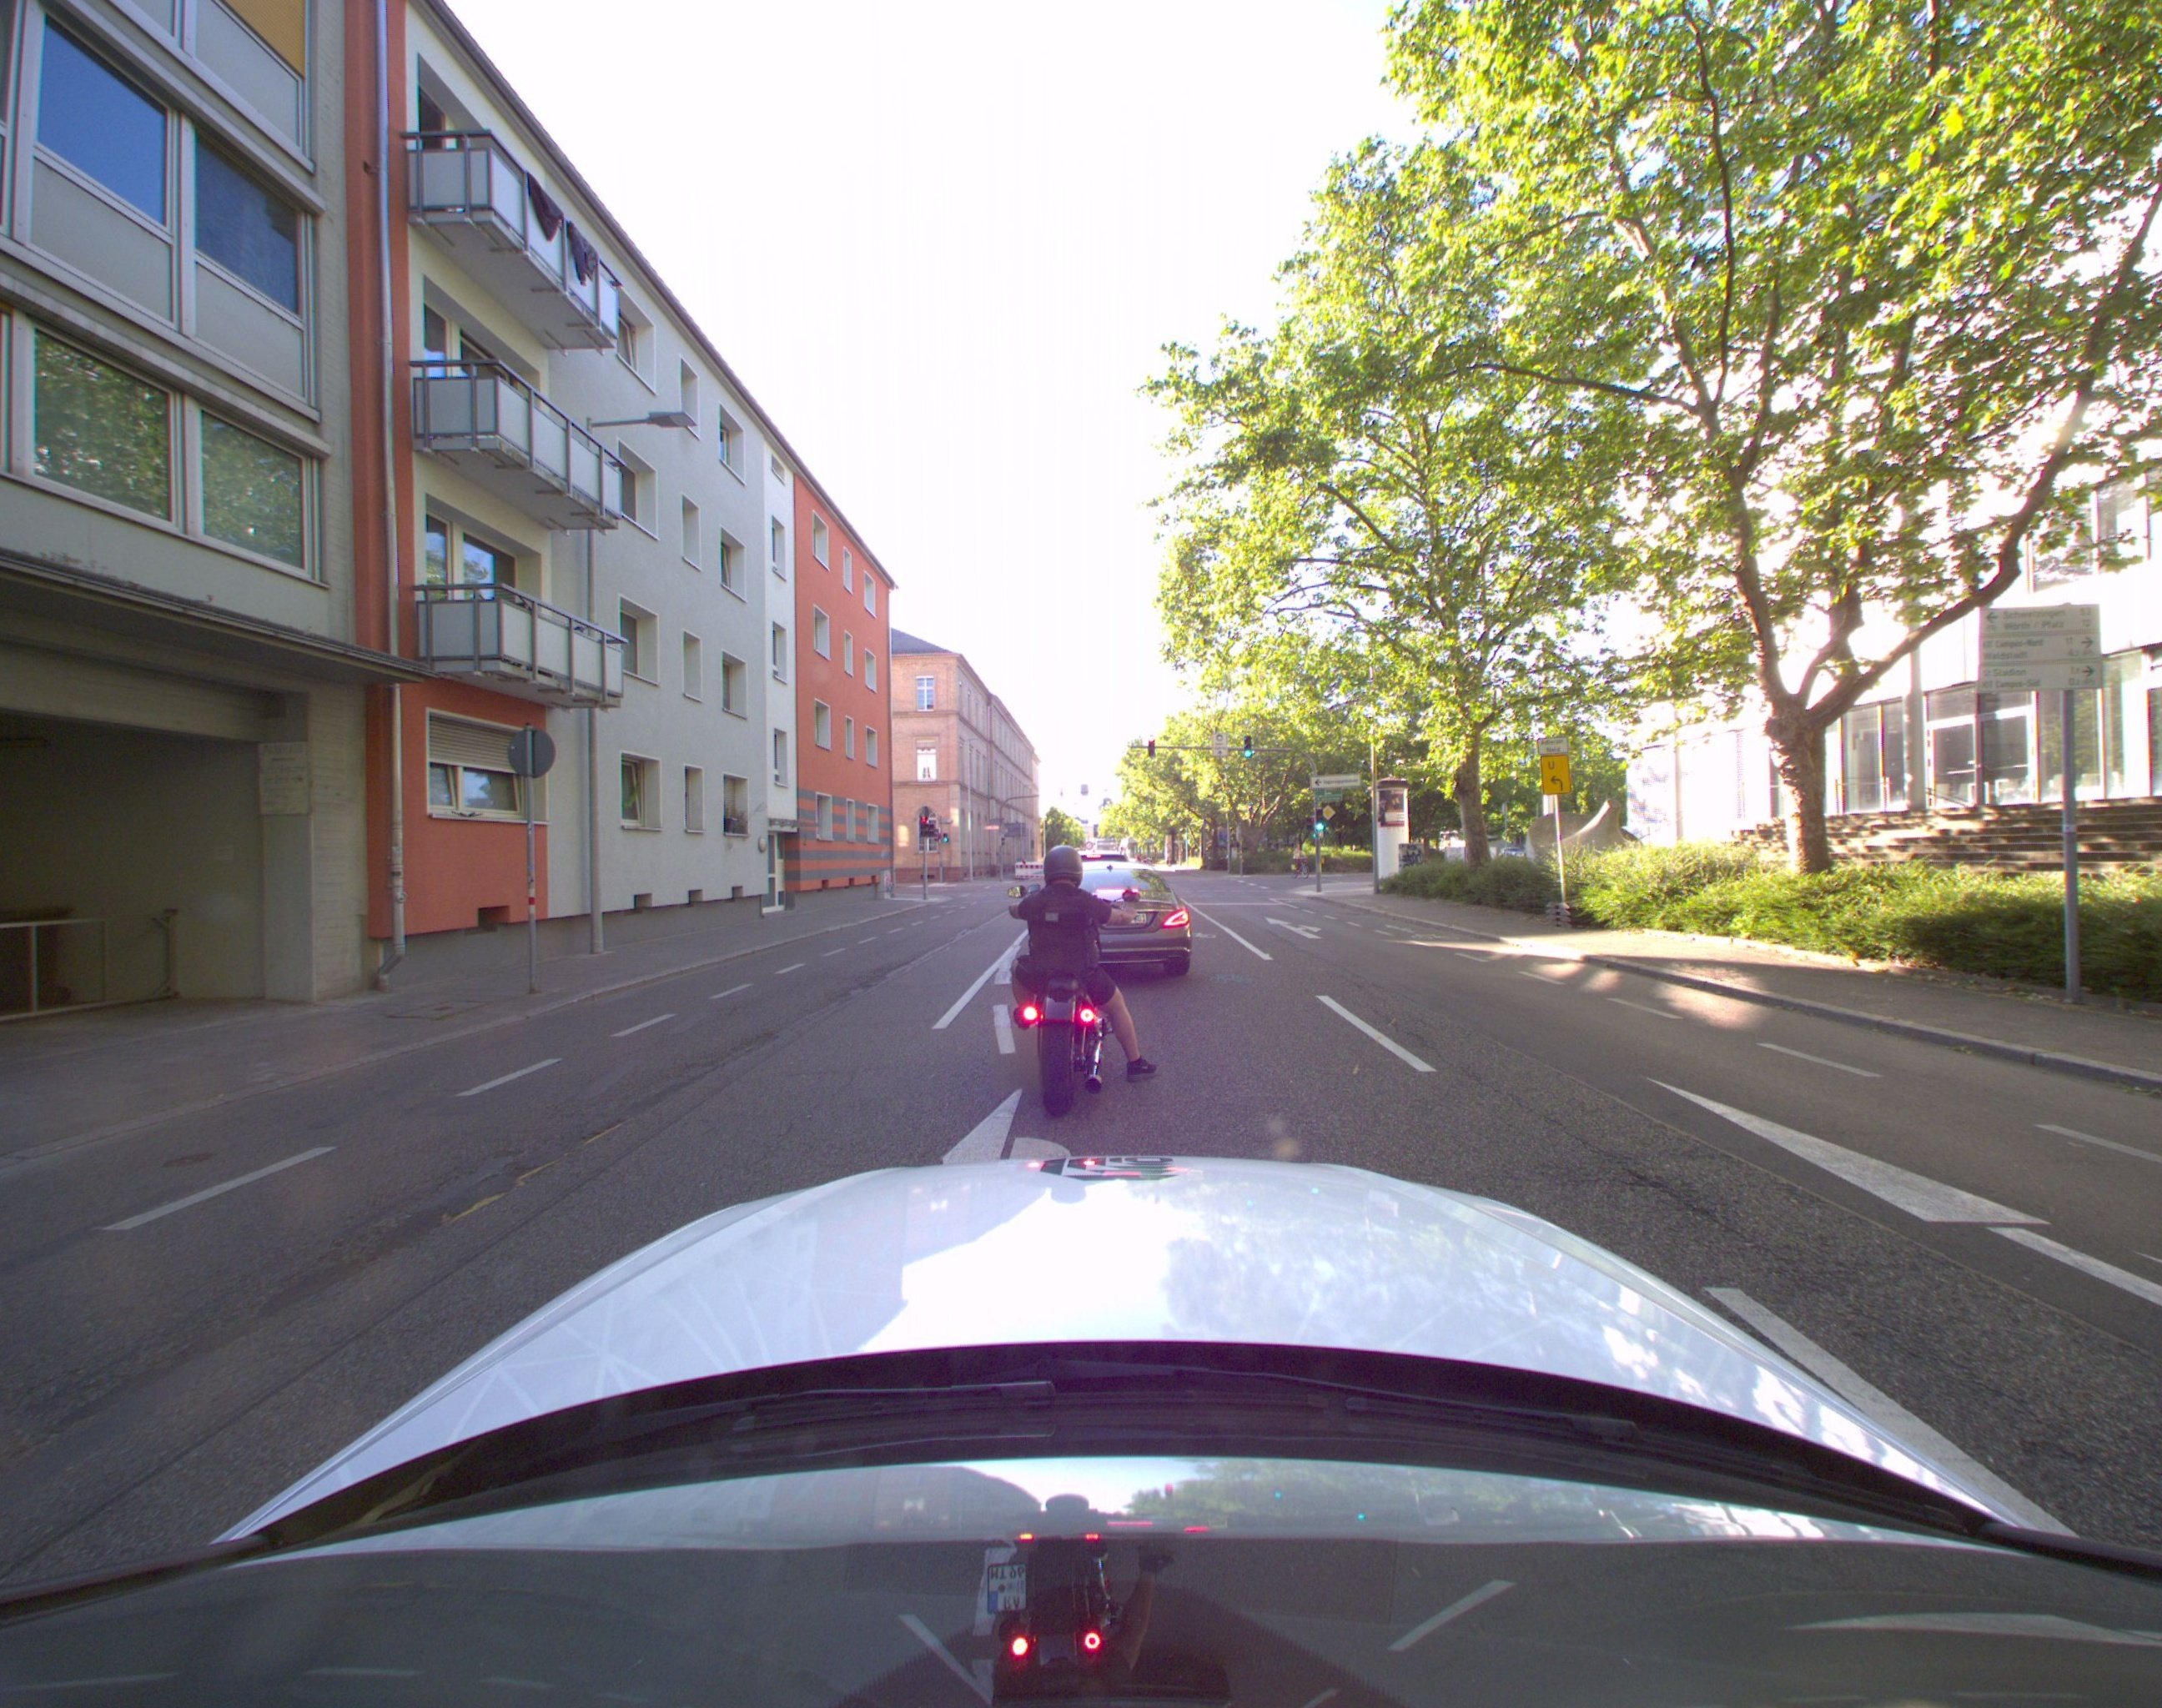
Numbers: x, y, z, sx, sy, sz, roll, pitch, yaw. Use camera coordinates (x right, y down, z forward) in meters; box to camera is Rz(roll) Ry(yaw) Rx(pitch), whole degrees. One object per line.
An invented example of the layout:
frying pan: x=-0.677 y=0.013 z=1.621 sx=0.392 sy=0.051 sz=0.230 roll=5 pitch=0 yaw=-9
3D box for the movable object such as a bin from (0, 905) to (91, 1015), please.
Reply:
movable object such as a bin: x=-11.327 y=1.103 z=8.652 sx=0.736 sy=1.074 sz=0.716 roll=0 pitch=-1 yaw=2

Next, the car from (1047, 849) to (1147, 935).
car: x=0.266 y=0.700 z=16.900 sx=1.808 sy=1.536 sz=3.847 roll=-1 pitch=0 yaw=-1

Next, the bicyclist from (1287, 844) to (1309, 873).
bicyclist: x=11.787 y=0.248 z=44.236 sx=0.719 sy=1.582 sz=0.929 roll=0 pitch=-1 yaw=-23

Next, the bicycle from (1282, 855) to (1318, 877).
bicycle: x=11.834 y=0.653 z=44.139 sx=0.718 sy=1.172 sz=2.160 roll=0 pitch=-1 yaw=-22

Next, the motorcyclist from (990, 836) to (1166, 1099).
motorcyclist: x=-0.008 y=0.692 z=5.395 sx=1.057 sy=1.582 sz=0.908 roll=0 pitch=-1 yaw=1

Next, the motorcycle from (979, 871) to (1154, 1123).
motorcycle: x=-0.043 y=0.817 z=5.665 sx=0.958 sy=1.357 sz=2.321 roll=0 pitch=-1 yaw=2

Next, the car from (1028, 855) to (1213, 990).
car: x=0.317 y=0.762 z=11.215 sx=1.900 sy=1.441 sz=4.279 roll=-1 pitch=0 yaw=-6
